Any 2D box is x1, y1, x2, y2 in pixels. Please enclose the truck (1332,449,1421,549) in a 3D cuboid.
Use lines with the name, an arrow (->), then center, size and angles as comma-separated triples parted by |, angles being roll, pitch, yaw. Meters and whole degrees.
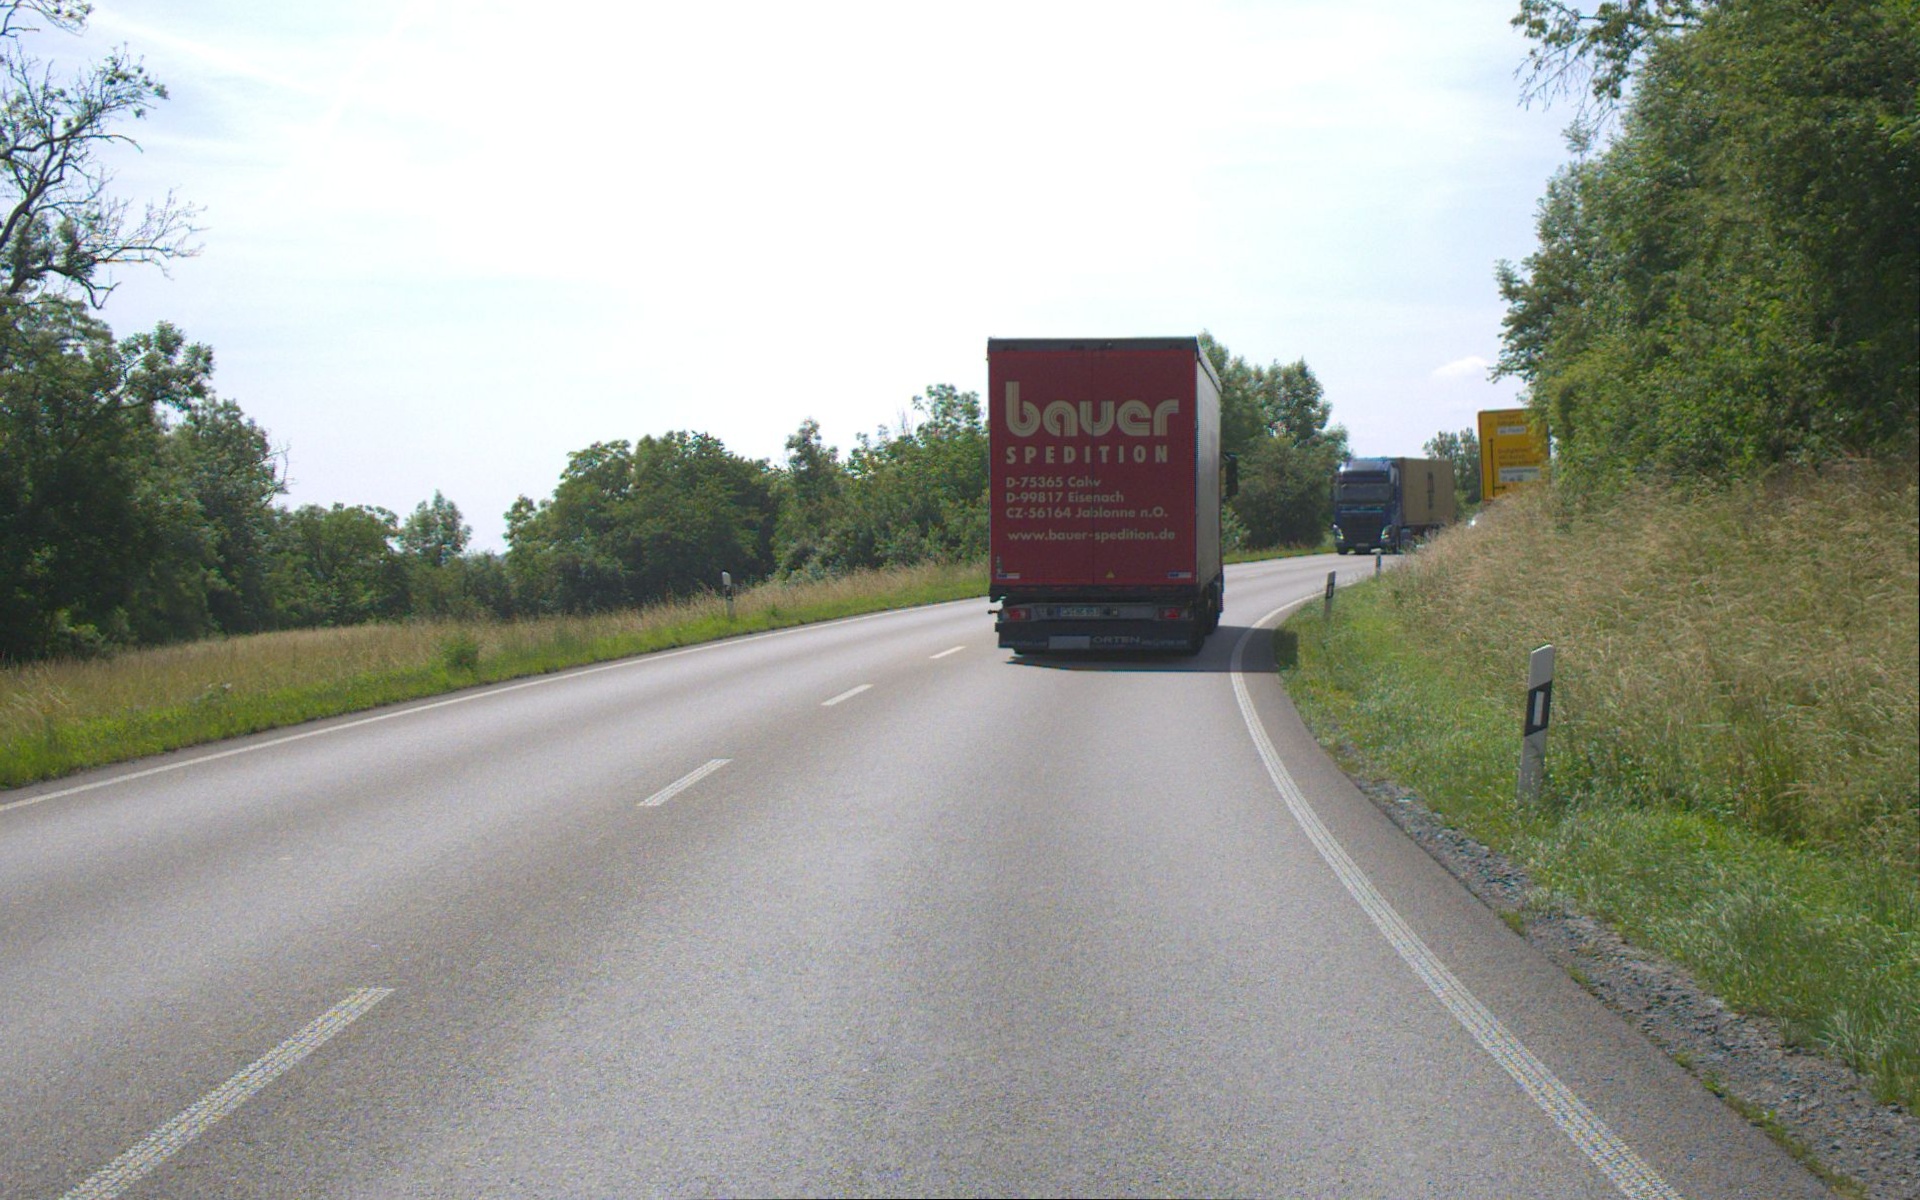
truck -> 17.551, -4.254, 144.693 | 2.808, 4.053, 5.981 | -1, 1, 15

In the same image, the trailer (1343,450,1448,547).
trailer -> 19.312, -4.405, 151.778 | 2.999, 4.029, 12.909 | 0, 1, 14

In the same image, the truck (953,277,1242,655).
truck -> 2.144, -1.778, 47.392 | 3.113, 4.490, 12.165 | 1, 2, 6
